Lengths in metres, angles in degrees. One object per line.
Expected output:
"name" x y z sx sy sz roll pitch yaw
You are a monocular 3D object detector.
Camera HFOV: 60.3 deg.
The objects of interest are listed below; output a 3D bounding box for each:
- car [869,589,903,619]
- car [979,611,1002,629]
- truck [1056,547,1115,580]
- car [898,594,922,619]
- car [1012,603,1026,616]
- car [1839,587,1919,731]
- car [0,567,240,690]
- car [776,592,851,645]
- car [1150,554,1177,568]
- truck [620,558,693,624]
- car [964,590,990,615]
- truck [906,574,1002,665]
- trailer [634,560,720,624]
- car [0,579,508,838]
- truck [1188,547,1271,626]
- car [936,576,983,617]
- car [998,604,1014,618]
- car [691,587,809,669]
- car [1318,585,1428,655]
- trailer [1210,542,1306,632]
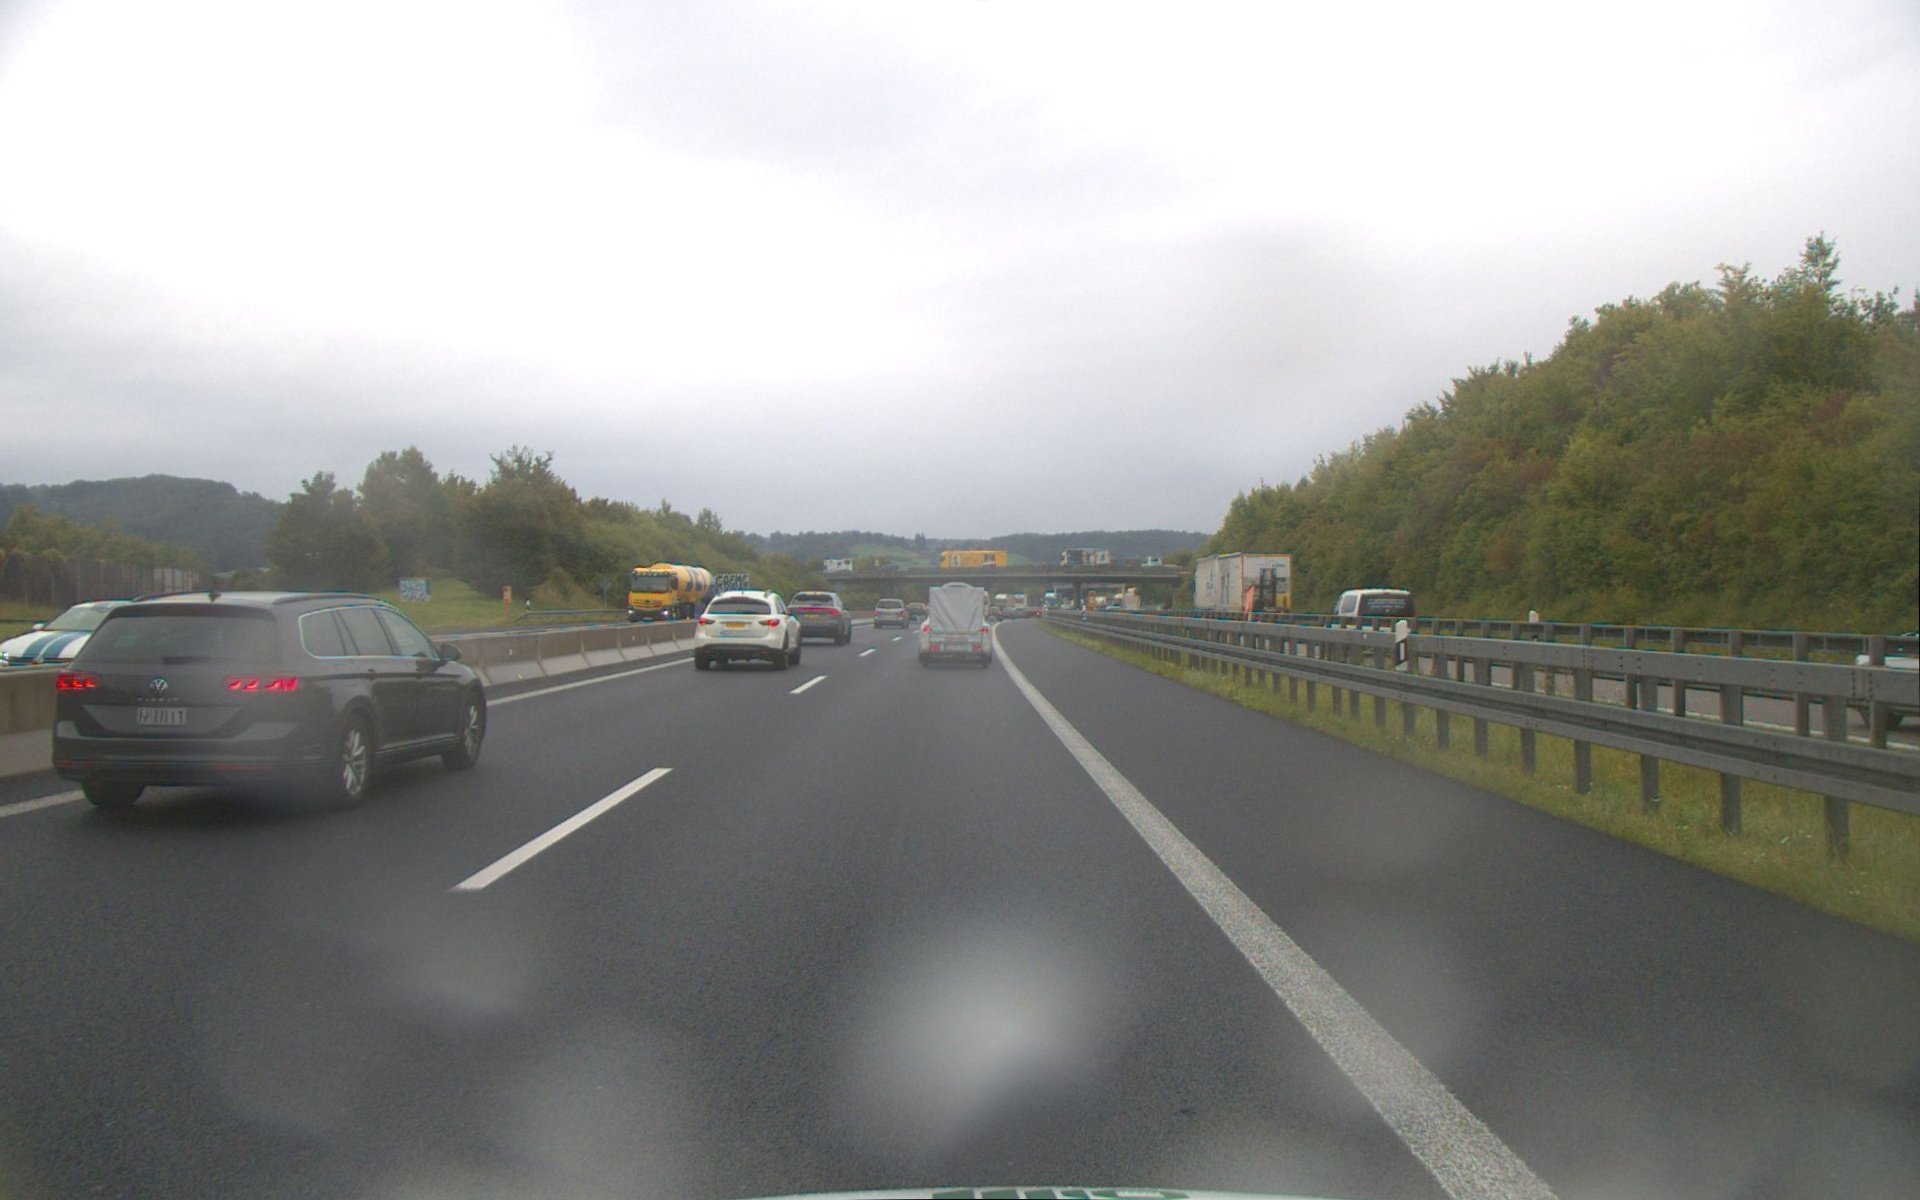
"car" -4.127 0.227 92.725 1.862 1.641 4.016 0 0 -1
"car" 2.968 1.951 162.250 1.954 1.780 3.998 1 0 -3
"truck" 19.760 -5.721 261.585 3.739 4.920 9.910 1 0 -37
"car" -3.752 0.494 124.773 1.804 1.851 3.999 0 0 -1
"car" 8.649 1.338 240.922 1.952 1.780 4.001 1 0 2
"car" 11.484 0.648 17.277 1.967 1.575 4.693 0 0 -3
"car" -13.424 0.386 25.755 2.134 1.725 4.866 0 0 2
"car" -4.806 0.584 54.930 2.130 1.660 4.500 0 0 -1
"car" 30.179 -5.790 245.466 1.824 1.948 3.945 1 0 -38
"truck" -16.664 -0.459 91.018 2.704 3.458 5.847 1 0 2
"car" 1.442 0.194 143.144 1.954 2.071 4.149 1 0 -3
"truck" -0.038 0.417 40.388 1.977 2.020 7.215 0 0 3
"trailer" -16.473 -0.434 97.251 2.704 3.458 11.449 1 0 2
"car" -4.924 0.644 12.185 1.861 1.523 4.851 0 0 0
"truck" 15.656 -0.748 96.918 3.366 4.364 10.420 0 0 1
"car" -0.016 -0.276 110.507 2.954 2.662 6.076 0 0 2
"car" 5.942 1.422 213.429 1.952 1.780 4.000 1 0 1
"car" -4.504 0.568 36.115 1.935 1.668 4.501 0 0 1
"car" 11.371 0.528 45.854 1.822 1.837 4.646 0 0 -1
"trailer" 15.414 -0.663 86.466 3.366 4.364 10.456 0 0 1
